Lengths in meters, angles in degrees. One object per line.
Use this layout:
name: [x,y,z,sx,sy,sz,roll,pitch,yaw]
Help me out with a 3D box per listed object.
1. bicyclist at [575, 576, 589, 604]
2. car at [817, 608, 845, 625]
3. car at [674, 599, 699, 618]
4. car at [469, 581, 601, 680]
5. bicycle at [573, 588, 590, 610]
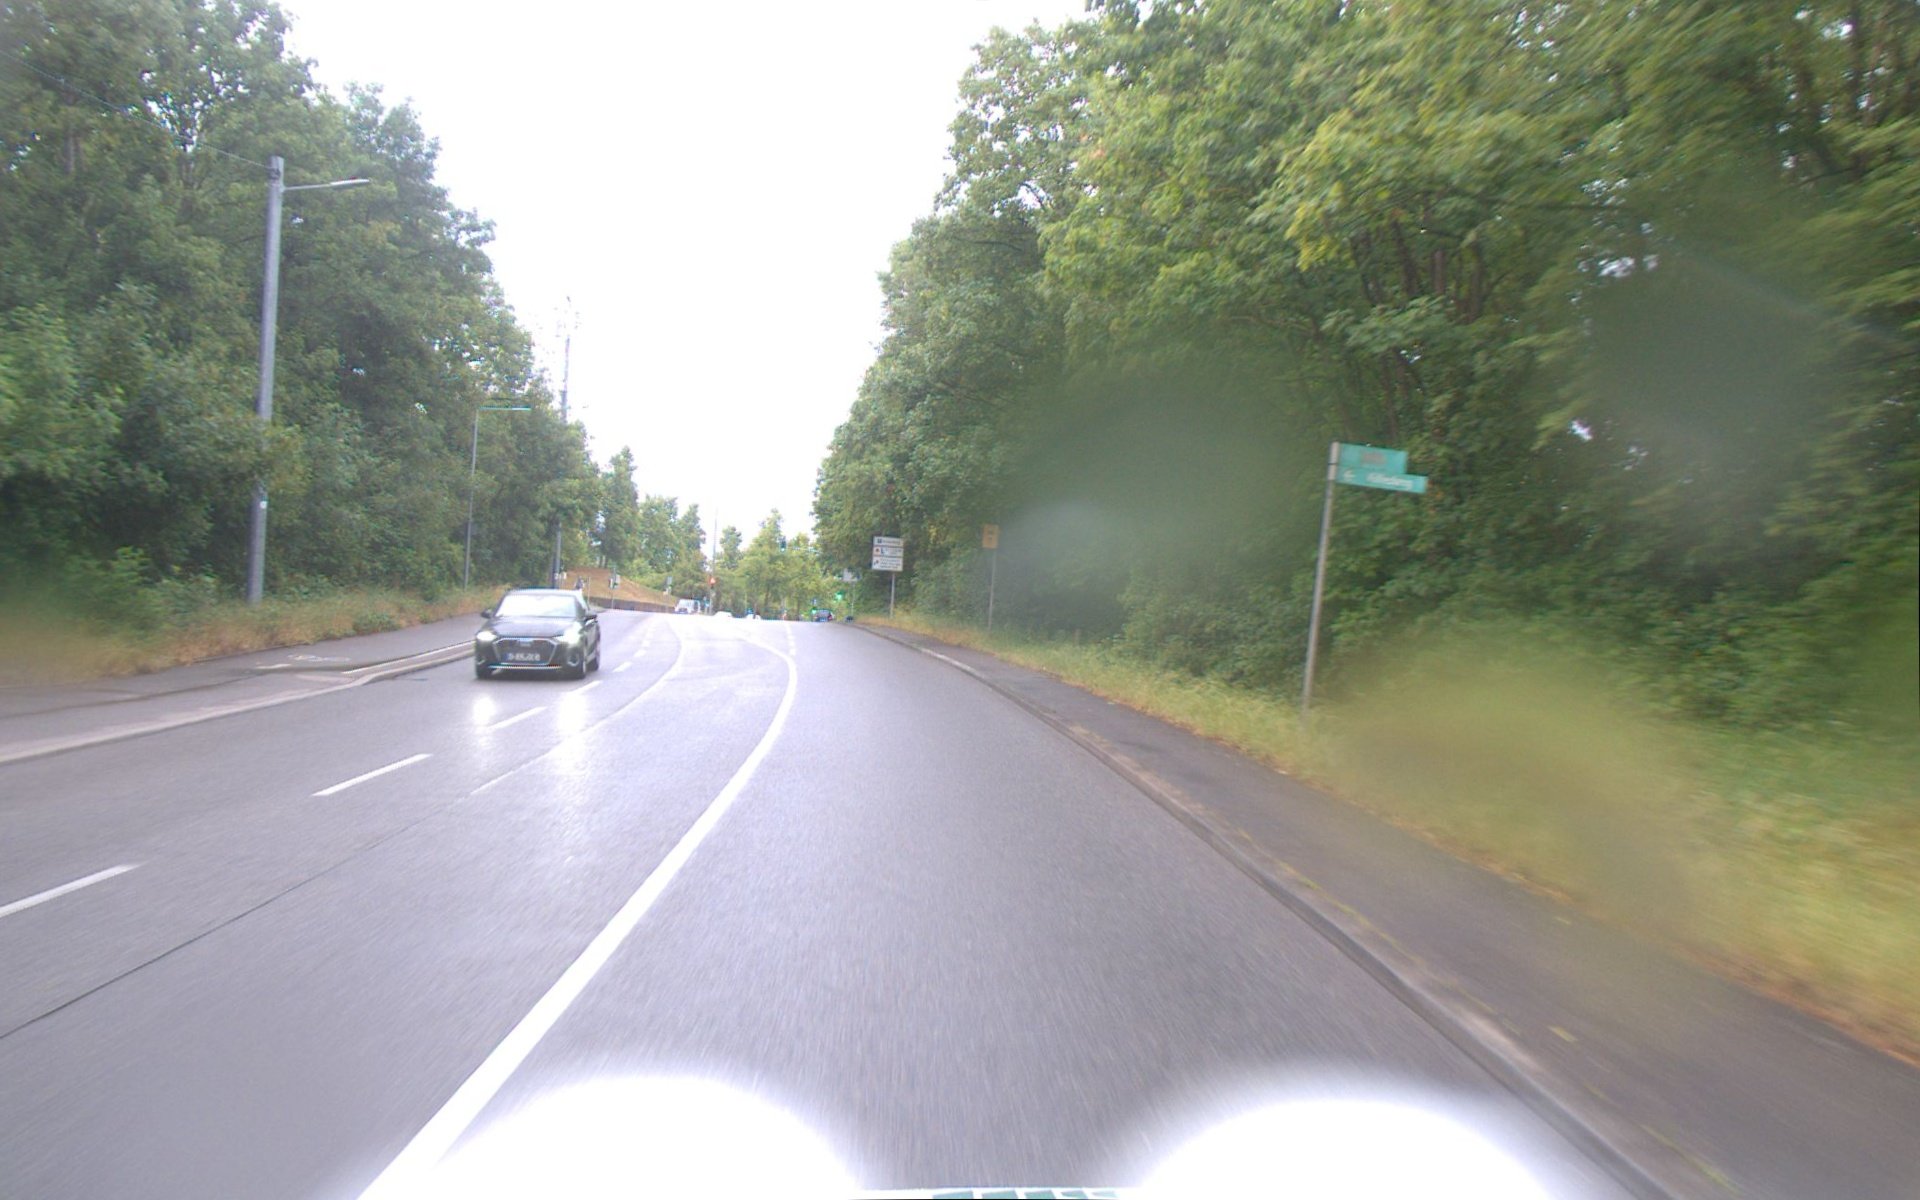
bicyclist: [-23.106,-0.632,101.115,0.691,1.673,0.950,1,0,-5]
car: [-12.392,1.577,159.134,1.894,1.524,4.321,2,0,6]
car: [-27.186,0.859,164.512,1.953,1.881,3.998,1,-1,-2]
car: [-7.206,0.465,28.390,1.900,1.524,4.306,2,0,-11]
bicycle: [-23.127,-0.066,101.109,0.691,1.264,2.162,1,0,-5]
